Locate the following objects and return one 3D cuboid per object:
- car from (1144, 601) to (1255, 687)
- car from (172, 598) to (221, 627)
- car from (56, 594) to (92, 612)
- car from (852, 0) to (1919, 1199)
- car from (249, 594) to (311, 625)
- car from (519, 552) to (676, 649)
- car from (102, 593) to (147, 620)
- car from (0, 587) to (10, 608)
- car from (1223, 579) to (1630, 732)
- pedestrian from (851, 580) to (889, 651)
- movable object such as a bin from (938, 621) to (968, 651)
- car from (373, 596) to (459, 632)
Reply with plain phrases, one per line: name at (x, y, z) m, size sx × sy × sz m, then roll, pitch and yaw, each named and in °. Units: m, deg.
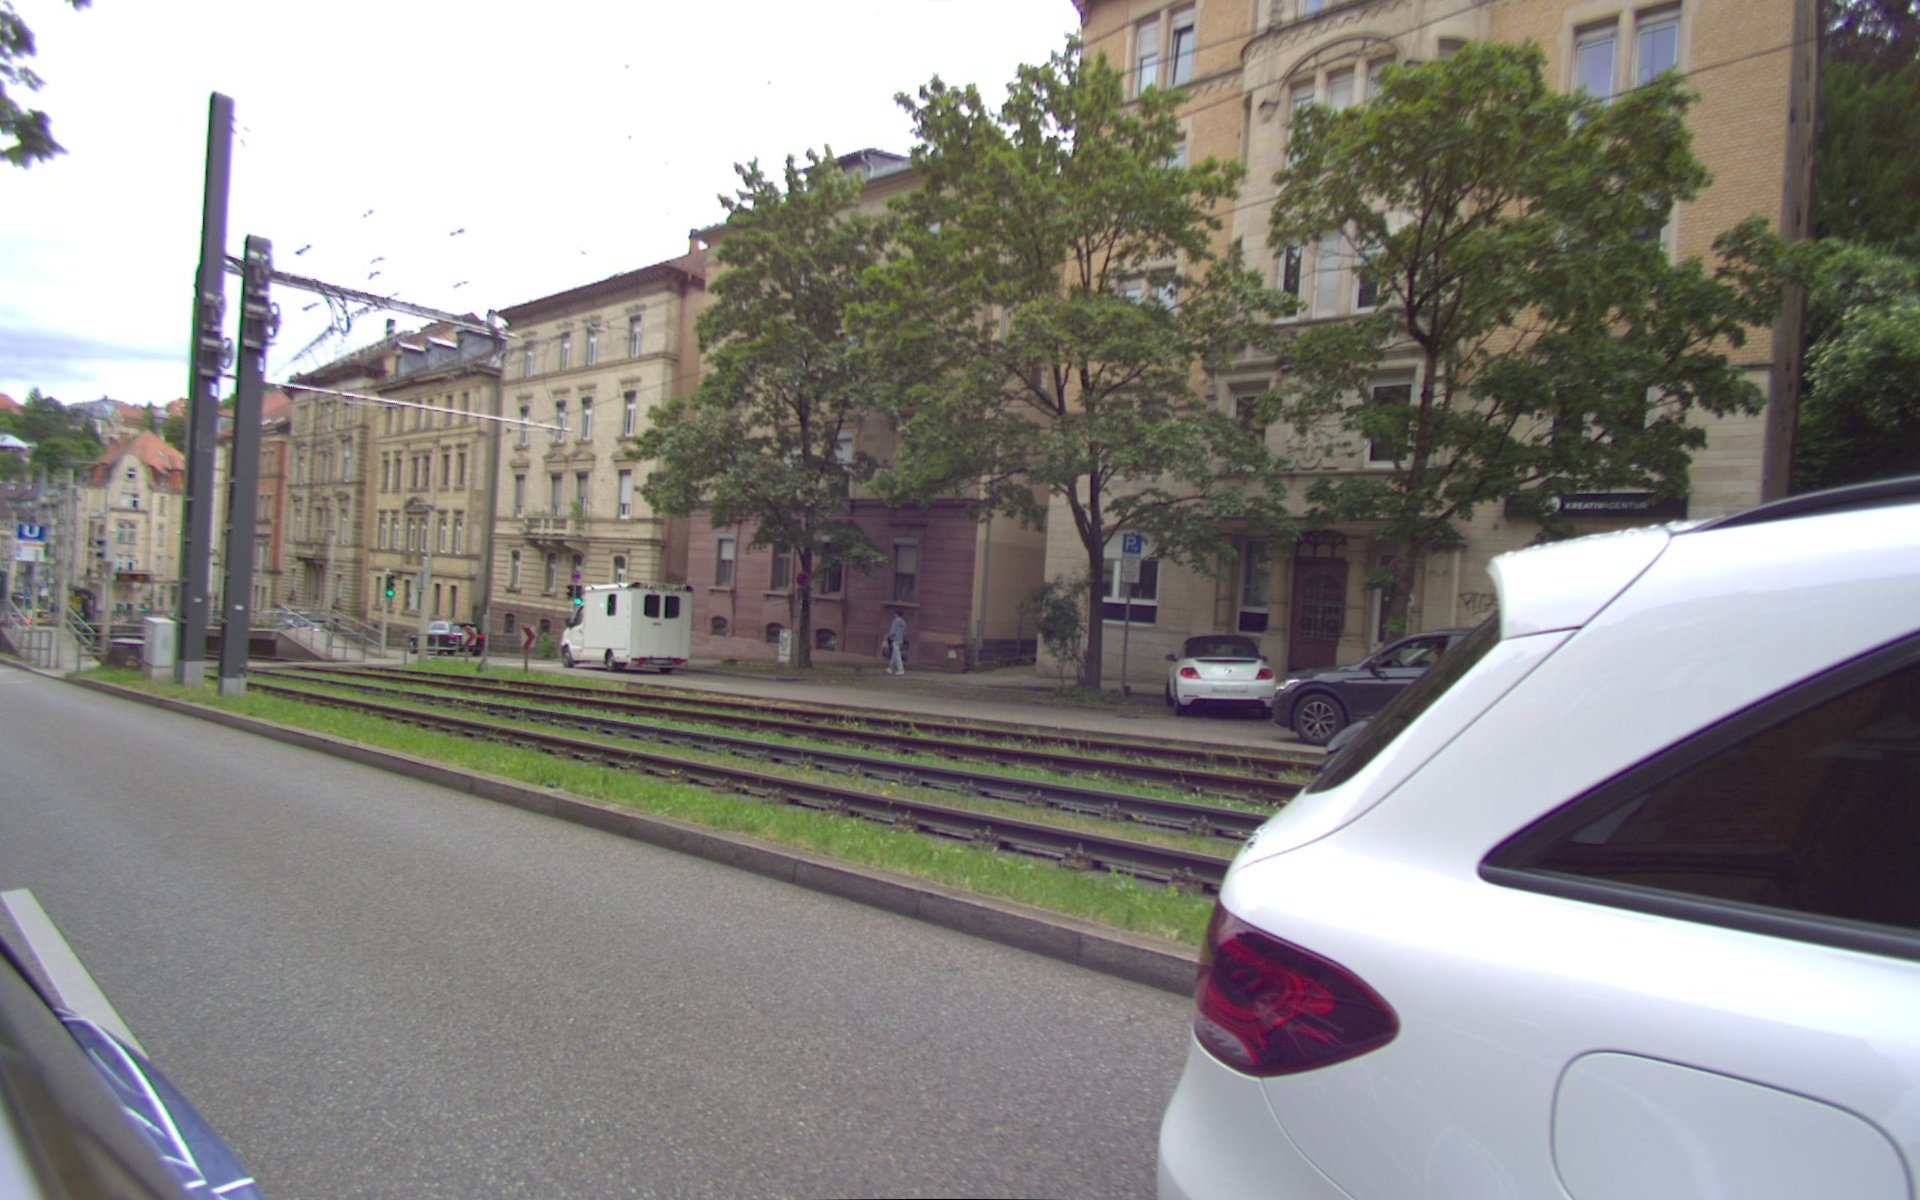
car at (4.513, 0.796, 19.575) m, size 1.766 × 1.433 × 3.988 m, roll 1°, pitch -1°, yaw 9°
car at (-52.199, 0.857, 69.144) m, size 4.136 × 1.874 × 1.829 m, roll 0°, pitch -2°, yaw 41°
car at (-78.764, 0.278, 89.924) m, size 3.998 × 1.540 × 1.858 m, roll 0°, pitch -3°, yaw 41°
car at (2.225, 0.376, 0.449) m, size 4.667 × 1.679 × 1.817 m, roll 1°, pitch 0°, yaw 40°
car at (-32.334, 0.431, 48.091) m, size 3.653 × 1.388 × 1.560 m, roll 0°, pitch -2°, yaw 41°
car at (-11.715, 0.054, 32.360) m, size 2.363 × 2.720 × 6.527 m, roll 5°, pitch -3°, yaw -41°
car at (-57.206, 0.454, 69.269) m, size 4.575 × 1.749 × 1.691 m, roll 0°, pitch -2°, yaw 42°
car at (-109.771, -0.264, 115.067) m, size 5.452 × 2.322 × 1.973 m, roll 0°, pitch -2°, yaw 41°
car at (5.938, 0.650, 13.200) m, size 4.468 × 1.663 × 1.860 m, roll 0°, pitch -3°, yaw 41°
pedestrian at (-2.615, 0.457, 29.441) m, size 0.796 × 2.029 × 0.713 m, roll -1°, pitch -2°, yaw 39°
movable object such as a bin at (-0.192, 1.037, 29.314) m, size 0.628 × 0.842 × 0.576 m, roll 0°, pitch -2°, yaw 41°
car at (-23.226, 0.579, 43.139) m, size 4.749 × 1.439 × 1.729 m, roll 0°, pitch -3°, yaw 43°
